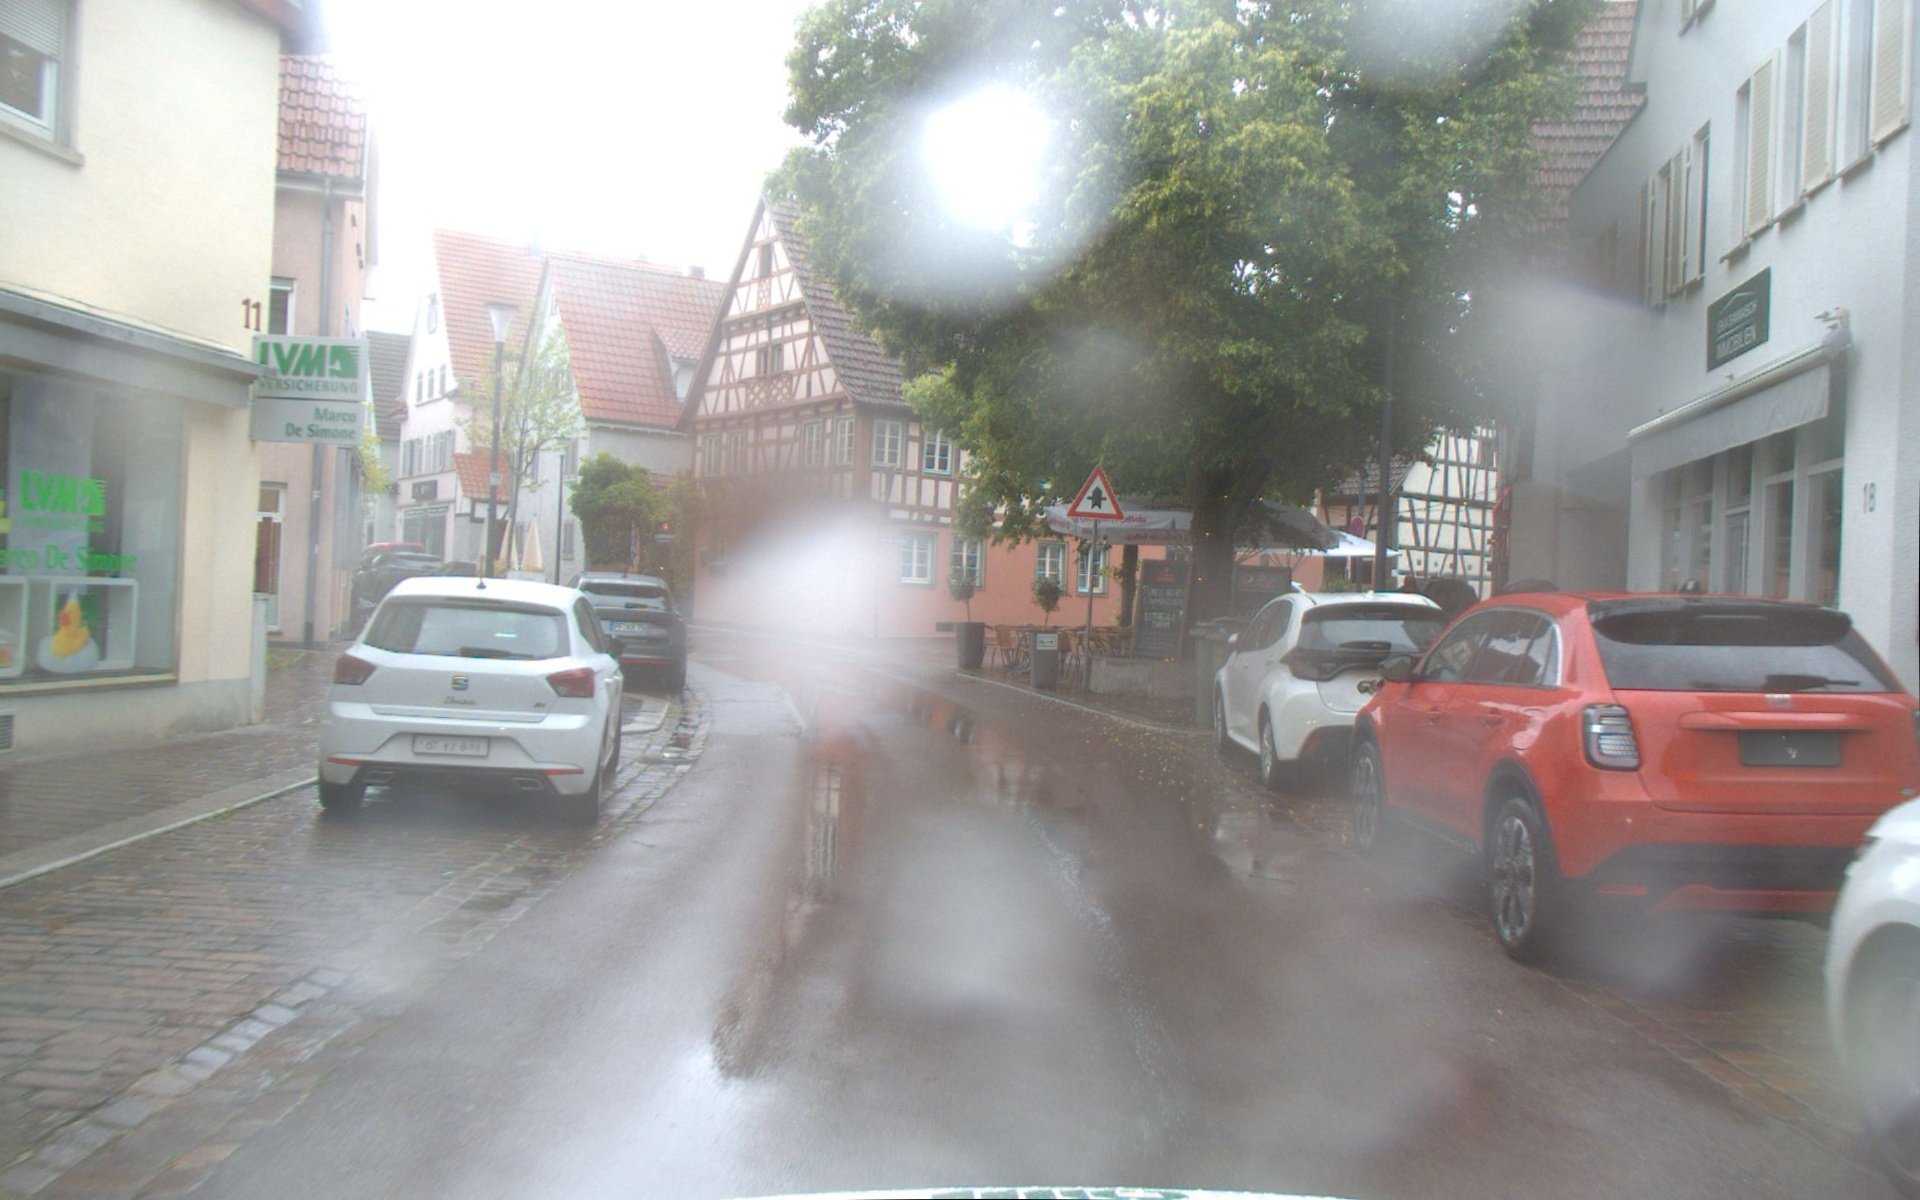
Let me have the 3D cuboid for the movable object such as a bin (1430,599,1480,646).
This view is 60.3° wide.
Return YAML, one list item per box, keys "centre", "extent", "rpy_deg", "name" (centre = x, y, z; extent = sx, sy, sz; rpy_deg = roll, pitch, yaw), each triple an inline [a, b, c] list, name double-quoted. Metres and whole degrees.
- centre: [12.423, 0.559, 41.510]
  extent: [0.869, 1.130, 0.847]
  rpy_deg: [4, -2, -35]
  name: "movable object such as a bin"

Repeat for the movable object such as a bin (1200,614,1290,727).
- centre: [2.916, 0.720, 16.972]
  extent: [0.712, 1.112, 0.609]
  rpy_deg: [3, -2, -10]
  name: "movable object such as a bin"

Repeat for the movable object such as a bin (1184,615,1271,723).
- centre: [2.848, 0.734, 17.647]
  extent: [0.712, 1.102, 0.603]
  rpy_deg: [3, -2, -10]
  name: "movable object such as a bin"

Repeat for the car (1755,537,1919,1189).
- centre: [3.343, 0.660, 2.751]
  extent: [1.752, 1.627, 4.437]
  rpy_deg: [3, -1, -2]
  name: "car"

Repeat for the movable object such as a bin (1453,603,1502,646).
- centre: [13.155, 0.610, 42.047]
  extent: [0.820, 1.040, 0.847]
  rpy_deg: [4, -2, -35]
  name: "movable object such as a bin"

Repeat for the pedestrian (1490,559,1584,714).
- centre: [6.795, 0.431, 19.527]
  extent: [0.866, 1.743, 0.890]
  rpy_deg: [2, -2, 11]
  name: "pedestrian"

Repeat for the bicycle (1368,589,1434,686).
- centre: [6.541, 0.534, 24.570]
  extent: [0.905, 1.374, 2.217]
  rpy_deg: [1, 0, 15]
  name: "bicycle"

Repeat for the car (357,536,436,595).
- centre: [-19.686, -1.233, 57.721]
  extent: [1.873, 1.842, 3.963]
  rpy_deg: [5, 0, -28]
  name: "car"

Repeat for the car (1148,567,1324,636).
- centre: [7.458, 0.053, 44.483]
  extent: [4.562, 1.661, 1.977]
  rpy_deg: [1, 3, -35]
  name: "car"

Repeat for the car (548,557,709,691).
- centre: [-4.632, 0.295, 22.653]
  extent: [1.844, 1.567, 4.383]
  rpy_deg: [3, -1, -15]
  name: "car"

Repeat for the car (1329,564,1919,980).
- centre: [3.187, 0.704, 8.179]
  extent: [1.751, 1.494, 3.948]
  rpy_deg: [3, -1, -1]
  name: "car"

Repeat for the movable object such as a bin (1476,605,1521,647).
- centre: [13.850, 0.667, 42.569]
  extent: [0.689, 1.044, 0.847]
  rpy_deg: [4, -2, -35]
  name: "movable object such as a bin"

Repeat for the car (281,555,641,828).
- centre: [-3.239, 0.488, 11.515]
  extent: [1.815, 1.477, 4.064]
  rpy_deg: [3, 1, -10]
  name: "car"

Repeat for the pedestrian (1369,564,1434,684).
- centre: [6.514, 0.349, 24.442]
  extent: [0.891, 1.728, 0.862]
  rpy_deg: [1, -1, 14]
  name: "pedestrian"

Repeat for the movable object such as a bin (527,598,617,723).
- centre: [-3.805, 0.583, 16.271]
  extent: [0.686, 1.163, 0.718]
  rpy_deg: [3, 1, -2]
  name: "movable object such as a bin"

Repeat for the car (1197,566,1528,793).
- centre: [3.182, 0.568, 13.887]
  extent: [1.751, 1.582, 3.949]
  rpy_deg: [2, 0, -1]
  name: "car"
